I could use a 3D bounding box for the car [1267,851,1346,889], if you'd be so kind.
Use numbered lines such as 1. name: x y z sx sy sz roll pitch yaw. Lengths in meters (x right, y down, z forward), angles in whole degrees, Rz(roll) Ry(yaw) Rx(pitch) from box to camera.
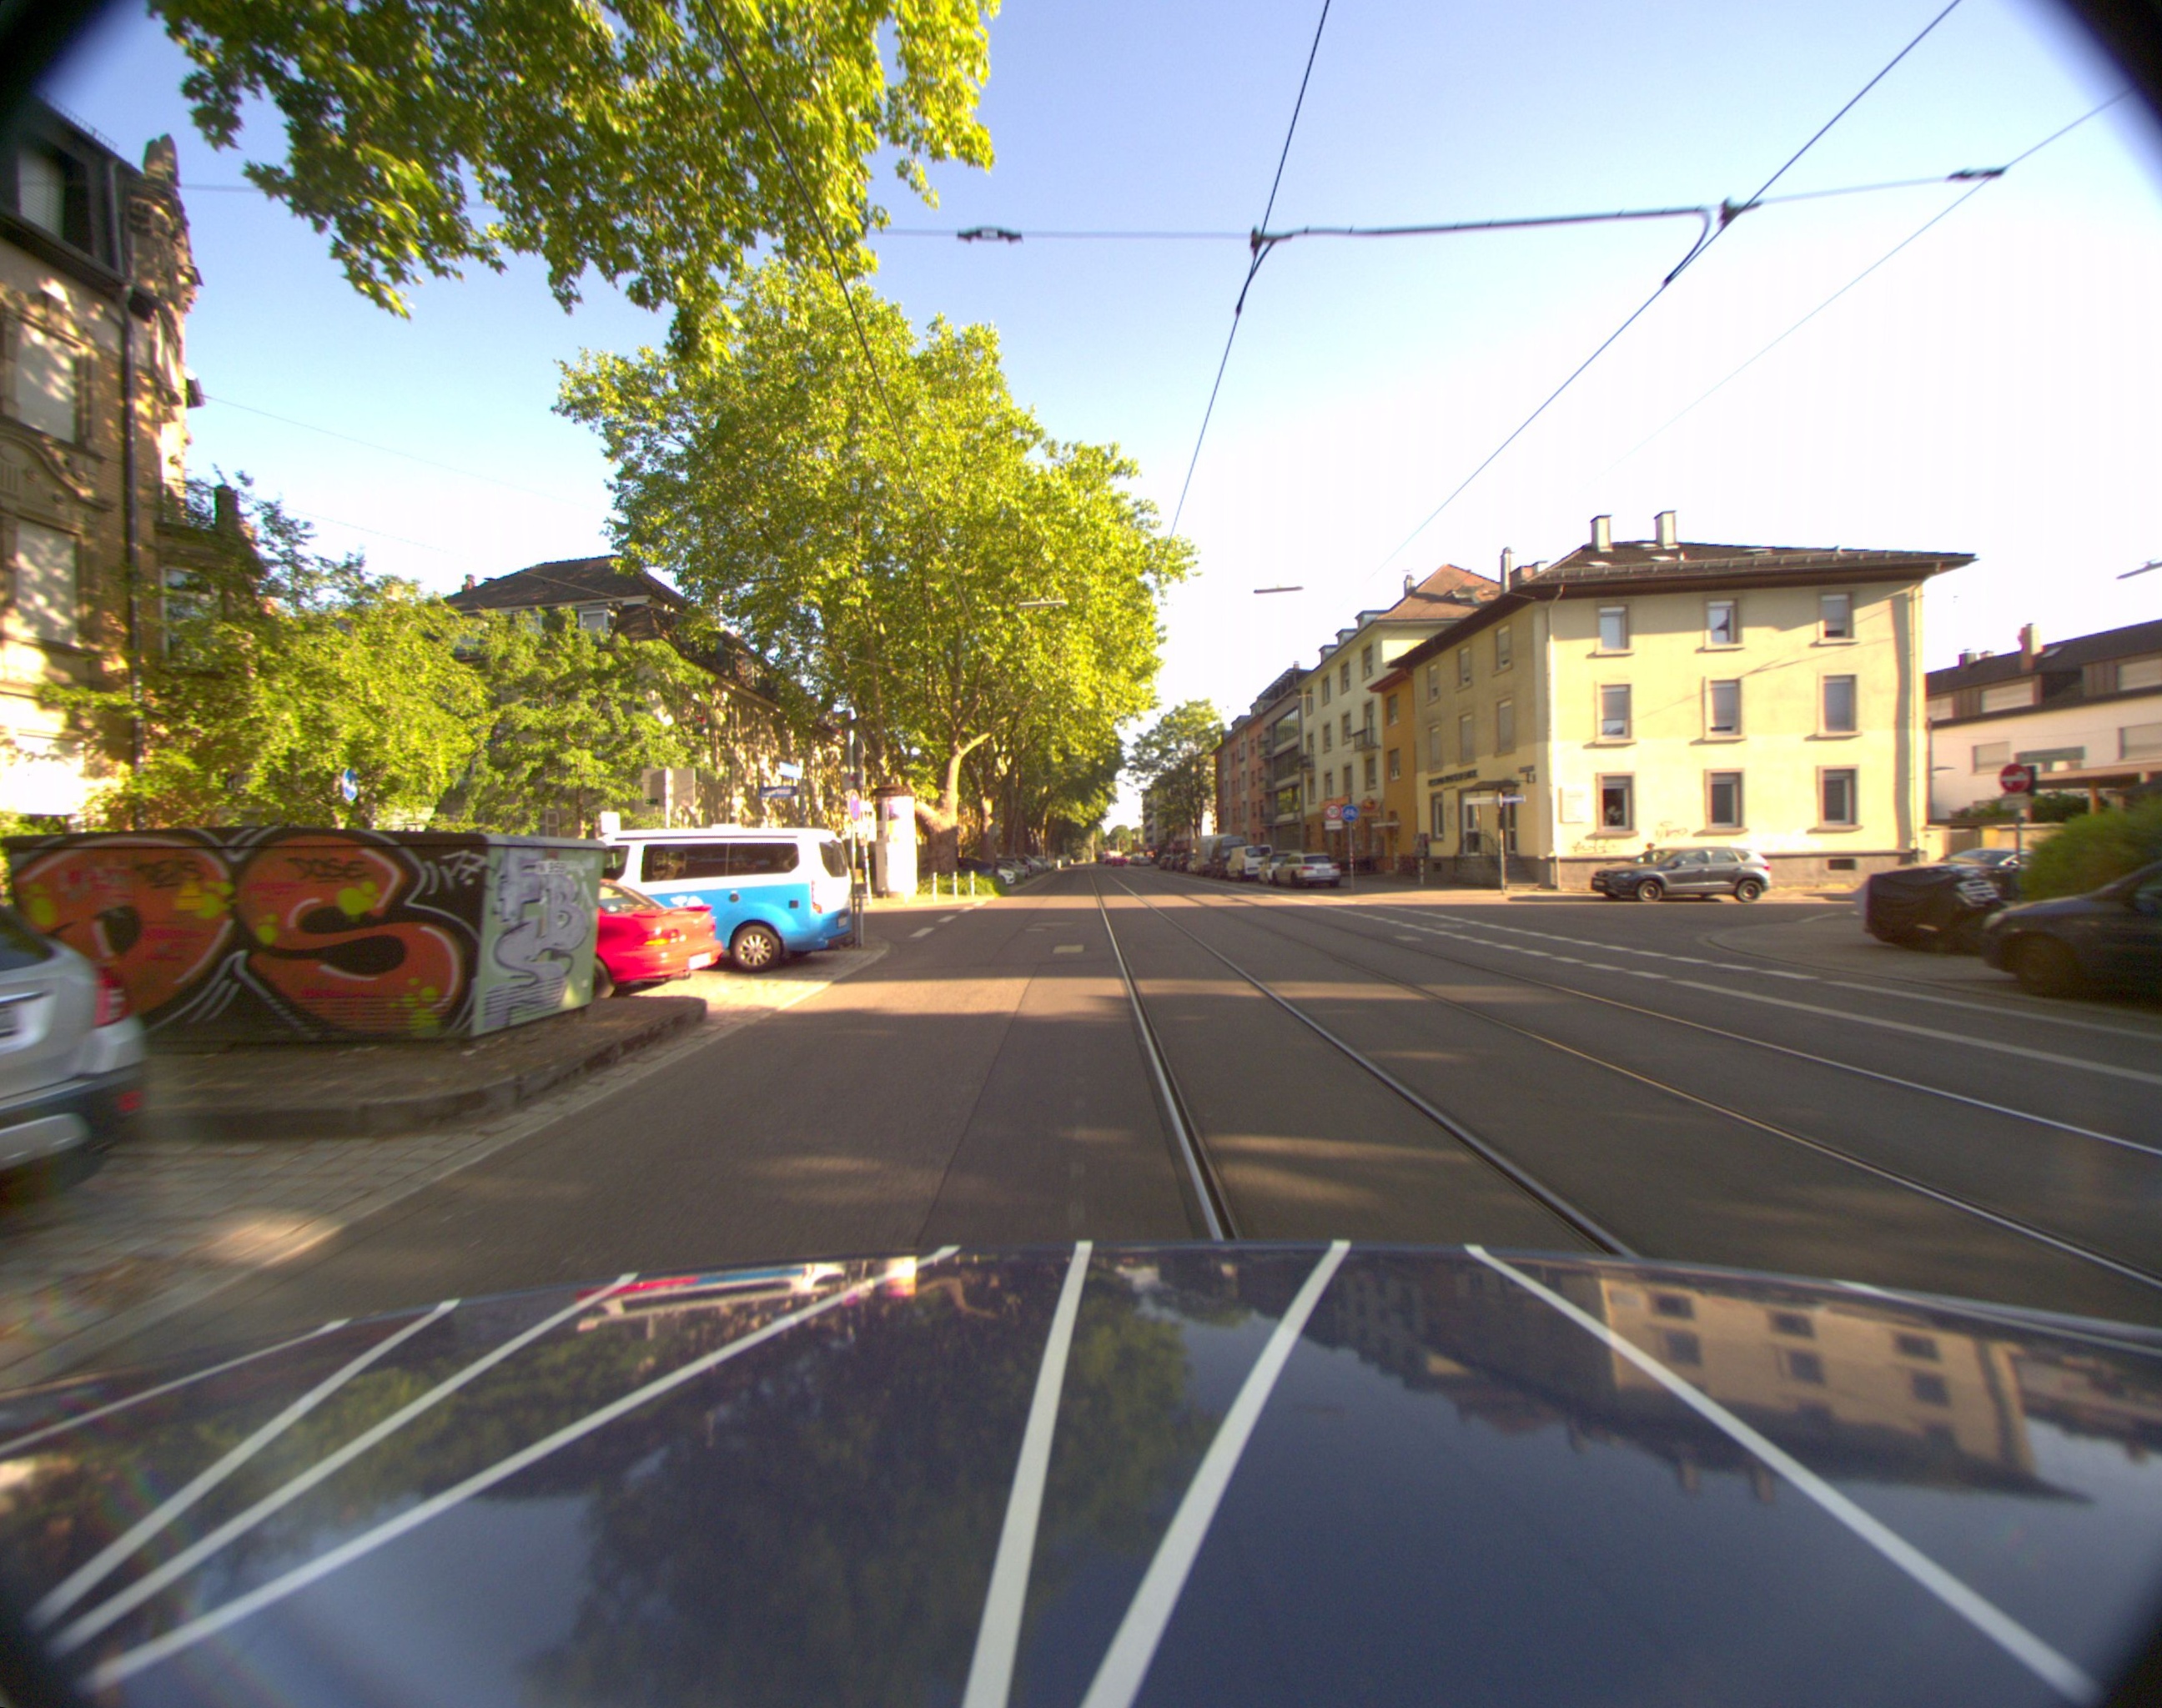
1. car: 9.772 0.634 33.399 1.776 1.484 4.940 -2 0 -2

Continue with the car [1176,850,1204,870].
1. car: 9.775 0.507 68.588 1.791 1.743 4.434 -2 0 -1

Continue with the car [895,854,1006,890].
1. car: -5.982 0.831 35.246 4.810 1.621 1.893 0 0 0

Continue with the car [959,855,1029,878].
1. car: -6.068 0.871 53.212 4.611 1.557 1.893 0 0 3

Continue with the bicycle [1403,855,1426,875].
1. bicycle: 15.560 0.508 35.461 0.362 0.923 1.647 -1 0 1

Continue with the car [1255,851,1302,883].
1. car: 9.835 0.601 38.071 1.575 1.484 2.882 -2 0 1

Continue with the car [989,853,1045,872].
1. car: -5.553 0.732 65.867 4.611 1.631 1.893 0 0 3

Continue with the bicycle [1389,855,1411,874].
1. bicycle: 15.593 0.495 37.190 0.362 0.923 1.647 -1 0 1

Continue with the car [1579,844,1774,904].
1. car: 17.209 0.555 22.131 4.071 1.608 1.966 -1 0 4

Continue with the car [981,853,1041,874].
1. car: -5.658 0.763 61.835 4.611 1.631 1.893 0 0 3

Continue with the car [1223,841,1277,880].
1. car: 9.690 0.347 43.957 1.928 2.034 4.940 -2 0 -1

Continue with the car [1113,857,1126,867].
1. car: 5.673 1.179 111.497 1.769 1.448 3.586 -1 0 1

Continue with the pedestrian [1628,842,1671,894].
1. pedestrian: 17.961 0.421 24.021 0.774 1.578 0.753 -1 4 4

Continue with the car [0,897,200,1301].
1. car: -6.301 1.013 2.862 3.792 1.609 1.790 0 0 -2

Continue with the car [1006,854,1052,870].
1. car: -5.502 0.863 80.117 4.611 1.631 1.893 0 0 3

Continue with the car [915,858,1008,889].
1. car: -5.869 0.955 37.669 4.368 1.436 1.893 0 0 -2

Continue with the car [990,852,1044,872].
1. car: -5.709 0.718 68.374 4.611 1.781 1.893 0 0 3

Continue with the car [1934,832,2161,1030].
1. car: 10.117 0.633 6.036 1.997 1.680 4.262 -1 0 3

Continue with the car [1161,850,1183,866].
1. car: 9.925 0.424 83.110 1.791 1.660 4.434 -2 0 -1

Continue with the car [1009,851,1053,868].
1. car: -5.410 0.635 82.366 4.611 1.781 1.893 0 0 3

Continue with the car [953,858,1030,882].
1. car: -5.669 1.017 48.563 4.611 1.485 1.893 0 0 3

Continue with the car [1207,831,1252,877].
1. car: 9.676 -0.014 49.822 1.927 2.730 4.546 -5 0 1

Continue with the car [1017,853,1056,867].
1. car: -5.493 0.722 94.636 4.611 1.705 1.893 0 0 3

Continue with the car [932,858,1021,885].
1. car: -5.795 0.975 42.458 4.611 1.485 1.893 0 0 3

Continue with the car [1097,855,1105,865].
1. car: 5.667 1.705 217.782 1.998 2.756 4.742 -1 0 1

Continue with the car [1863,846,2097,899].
1. car: 25.089 0.489 21.343 4.071 1.381 1.966 -1 0 4

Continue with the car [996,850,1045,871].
1. car: -5.918 0.681 74.597 4.636 2.001 1.893 0 0 3

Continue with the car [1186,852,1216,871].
1. car: 9.918 0.581 62.964 1.791 1.506 3.473 -2 0 -1

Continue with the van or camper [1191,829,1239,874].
1. van or camper: 9.880 -0.174 56.654 2.423 2.960 5.991 -5 0 1

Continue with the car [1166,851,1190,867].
1. car: 10.023 0.504 78.634 1.791 1.462 4.434 -2 0 -1

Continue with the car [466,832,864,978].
1. car: -6.038 0.715 11.616 4.859 2.002 2.193 0 0 -3

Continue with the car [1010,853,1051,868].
1. car: -6.002 0.769 90.114 4.611 1.705 1.893 0 0 3

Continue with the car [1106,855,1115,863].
1. car: 6.079 1.005 155.108 1.769 1.448 3.586 -1 0 1

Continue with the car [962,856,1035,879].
1. car: -5.491 0.908 50.835 4.611 1.485 1.893 0 0 3

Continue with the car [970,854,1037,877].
1. car: -5.577 0.852 55.178 4.611 1.631 1.893 0 0 3

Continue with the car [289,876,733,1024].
1. car: -6.362 1.038 8.859 3.792 1.479 1.790 0 0 -2

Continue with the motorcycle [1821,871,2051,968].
1. motorcycle: 11.432 0.824 10.310 0.674 1.132 2.151 -4 -2 3
